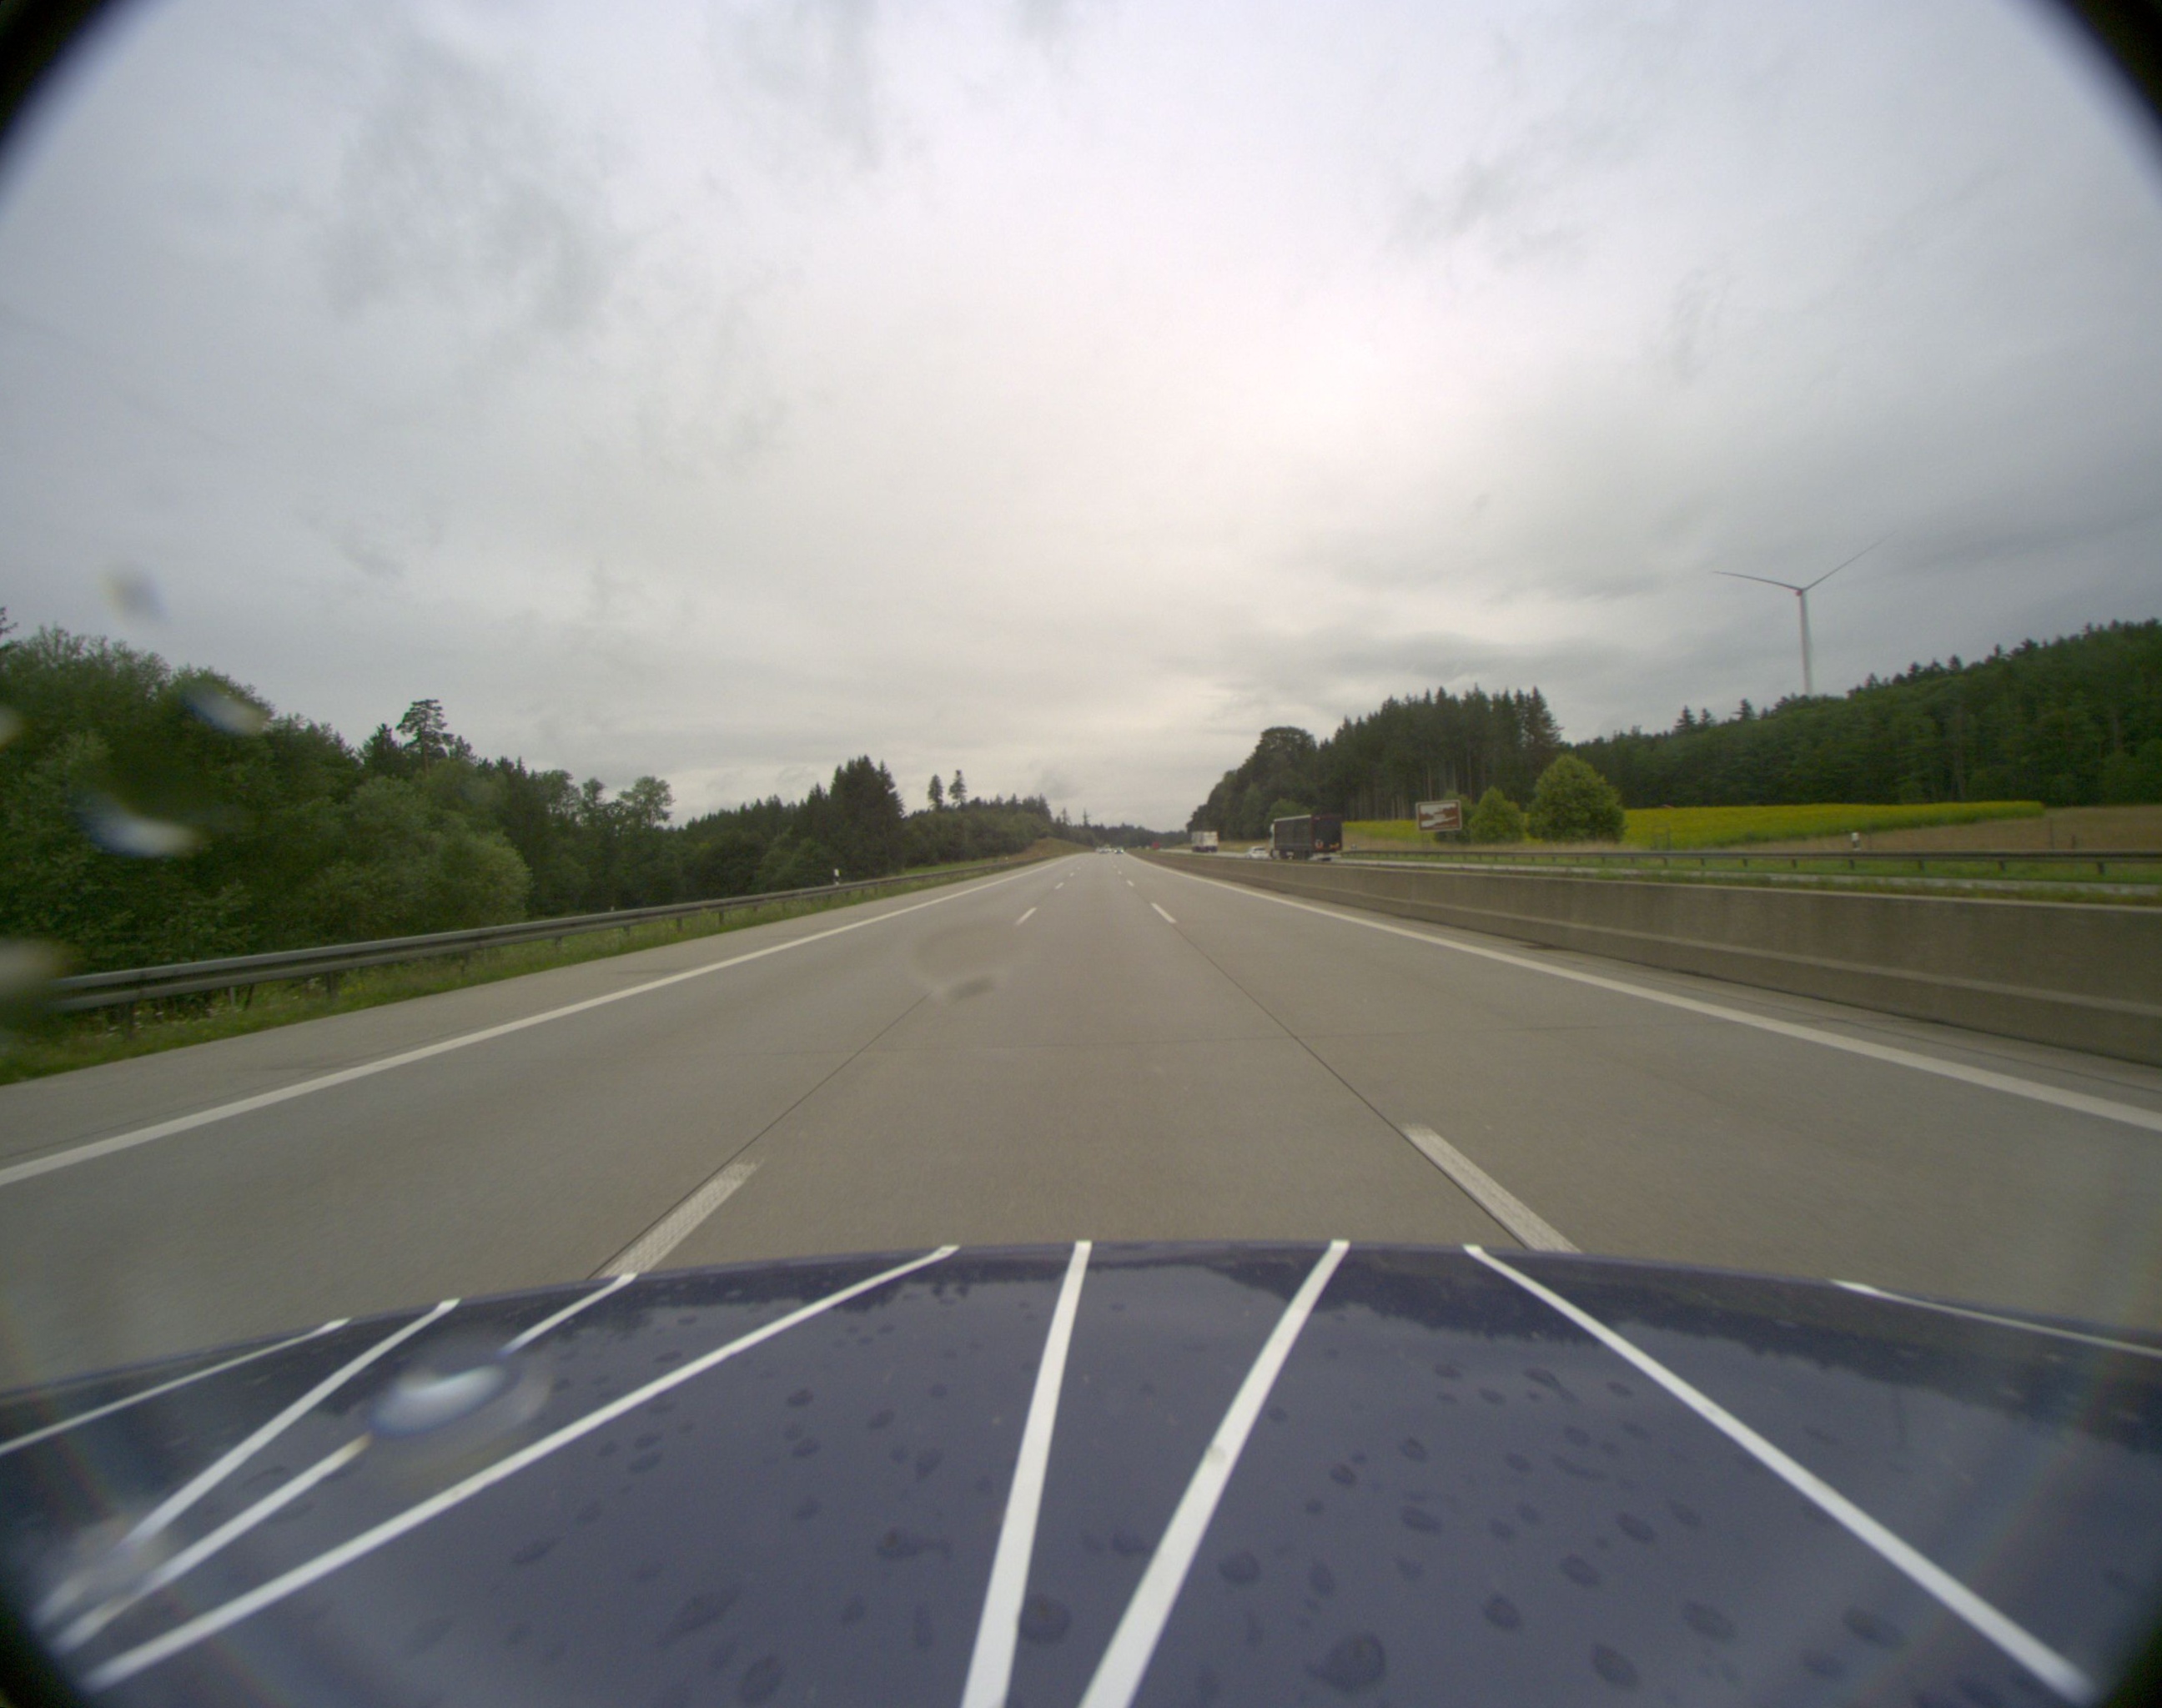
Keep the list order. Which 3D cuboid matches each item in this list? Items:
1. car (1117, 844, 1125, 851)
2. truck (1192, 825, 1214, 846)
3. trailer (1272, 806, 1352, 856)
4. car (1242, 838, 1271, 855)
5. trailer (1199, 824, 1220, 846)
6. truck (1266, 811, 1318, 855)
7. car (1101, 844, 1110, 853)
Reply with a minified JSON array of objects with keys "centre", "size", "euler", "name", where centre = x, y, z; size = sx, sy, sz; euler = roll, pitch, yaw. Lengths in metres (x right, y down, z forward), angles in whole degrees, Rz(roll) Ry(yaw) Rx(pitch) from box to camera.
[{"centre":[9.292,-1.536,177.739],"size":[1.766,1.455,4.001],"euler":[-3,-1,2],"name":"car"},{"centre":[24.001,-3.621,149.504],"size":[2.819,3.751,11.350],"euler":[-3,1,2],"name":"truck"},{"centre":[21.190,-1.998,70.965],"size":[3.243,4.029,14.130],"euler":[-3,0,1],"name":"trailer"},{"centre":[16.875,-0.695,73.200],"size":[1.788,1.459,4.372],"euler":[-2,0,1],"name":"car"},{"centre":[23.607,-3.474,139.994],"size":[2.825,3.761,7.716],"euler":[-3,1,2],"name":"trailer"},{"centre":[21.297,-2.056,77.169],"size":[3.220,4.034,7.165],"euler":[-3,1,1],"name":"truck"},{"centre":[6.258,-1.416,196.070],"size":[2.213,2.002,4.834],"euler":[-3,0,0],"name":"car"}]
